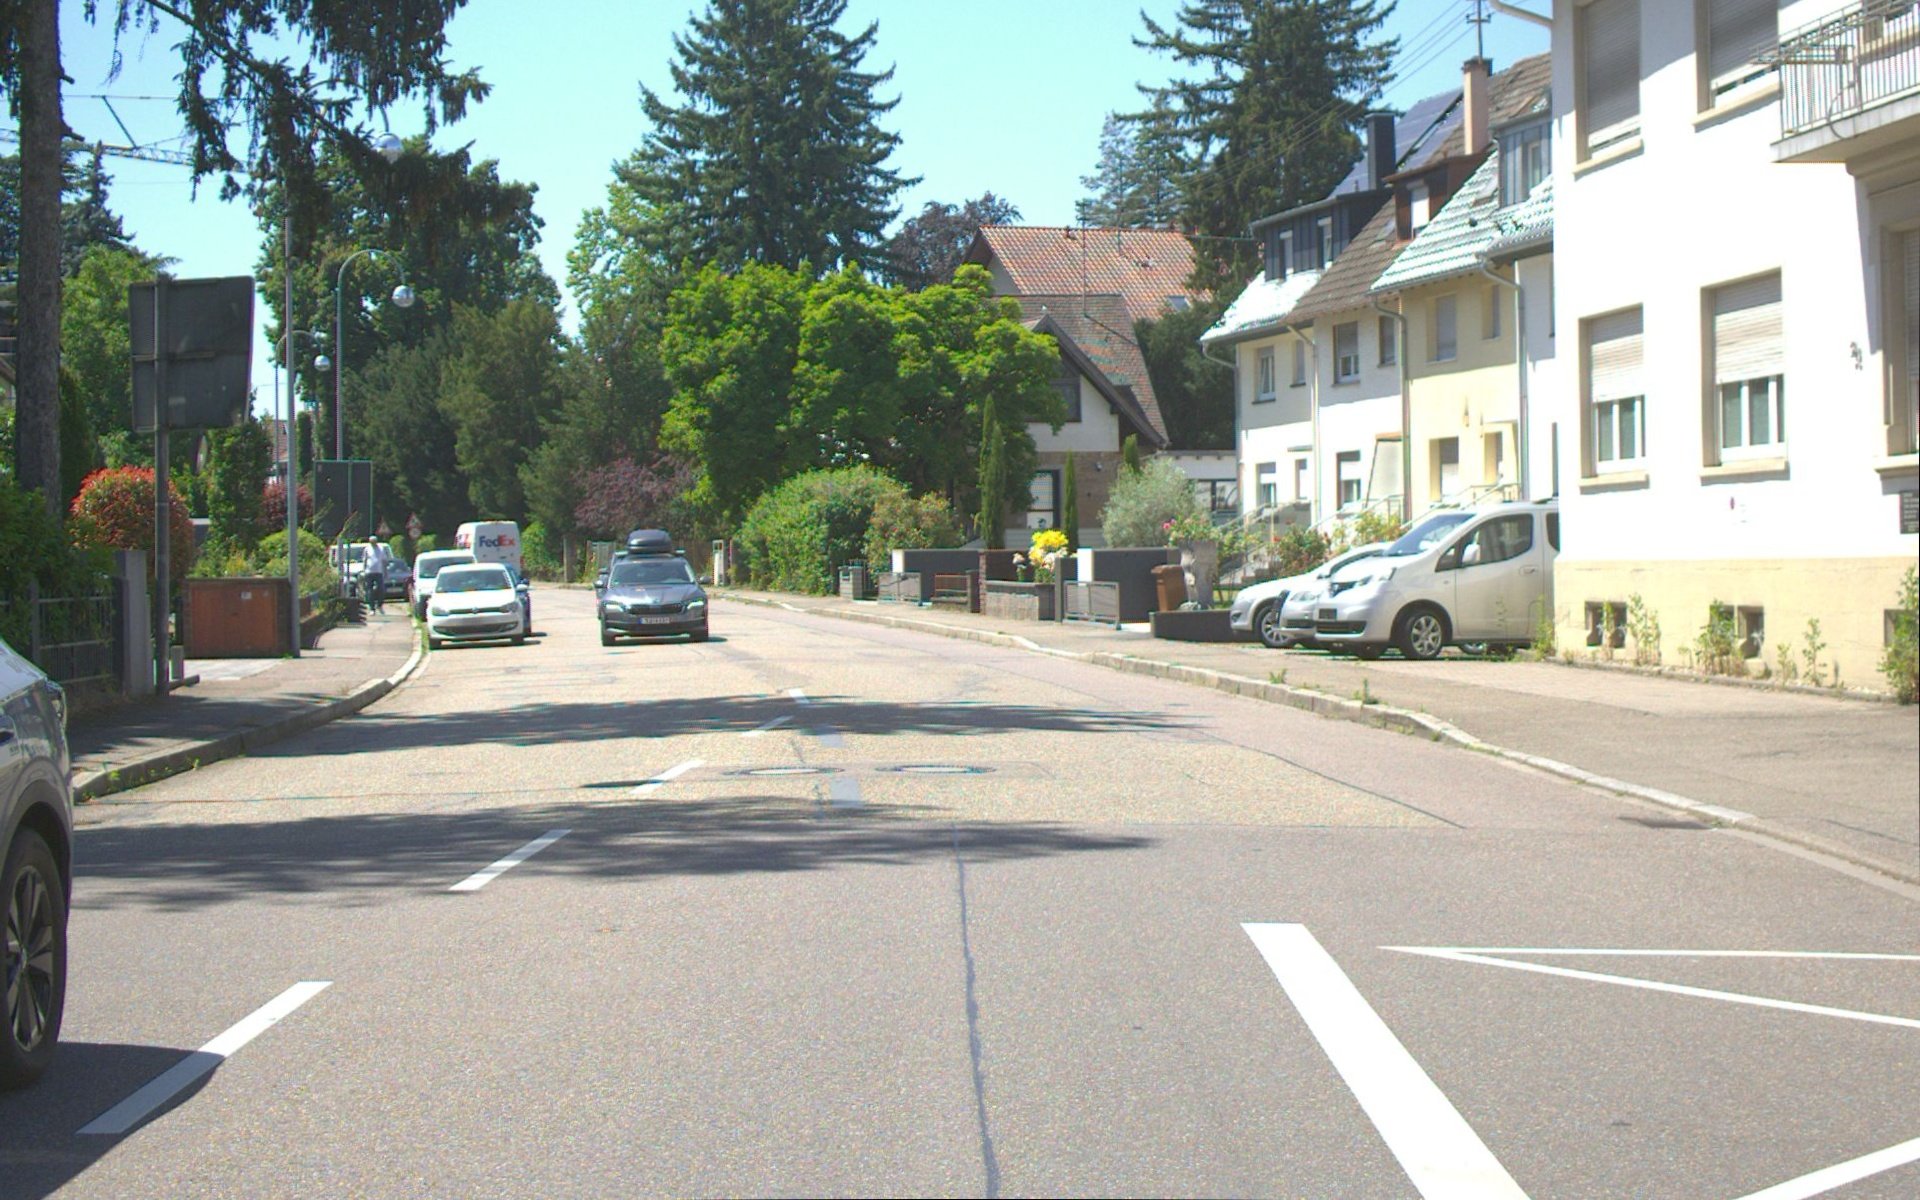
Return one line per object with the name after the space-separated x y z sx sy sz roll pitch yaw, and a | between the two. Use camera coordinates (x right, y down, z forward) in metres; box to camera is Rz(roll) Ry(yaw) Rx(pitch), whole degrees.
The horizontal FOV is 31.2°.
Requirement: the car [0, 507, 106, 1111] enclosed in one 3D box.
-3.488 0.567 8.116 1.853 1.611 4.297 0 1 0 | car

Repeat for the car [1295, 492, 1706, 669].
6.244 -0.231 39.868 4.289 1.824 1.740 2 1 -14 | car

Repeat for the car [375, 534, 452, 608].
-13.679 -0.733 85.922 1.722 1.730 3.888 -3 1 -10 | car

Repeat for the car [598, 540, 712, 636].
-5.202 -0.240 58.357 1.806 1.483 4.388 -2 1 -6 | car

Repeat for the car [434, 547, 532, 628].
-9.350 -0.277 67.295 1.768 1.434 4.363 -2 2 -8 | car

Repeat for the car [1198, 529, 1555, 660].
5.485 -0.073 45.347 4.296 1.542 1.754 2 -1 26 | car

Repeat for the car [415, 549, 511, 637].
-8.876 -0.146 61.346 1.578 1.418 3.942 -3 2 -8 | car

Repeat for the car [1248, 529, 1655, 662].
6.045 -0.064 42.550 4.639 1.404 1.769 3 1 -5 | car

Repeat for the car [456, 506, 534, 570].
-17.503 -2.335 129.357 2.143 2.307 4.854 -2 2 -16 | car
